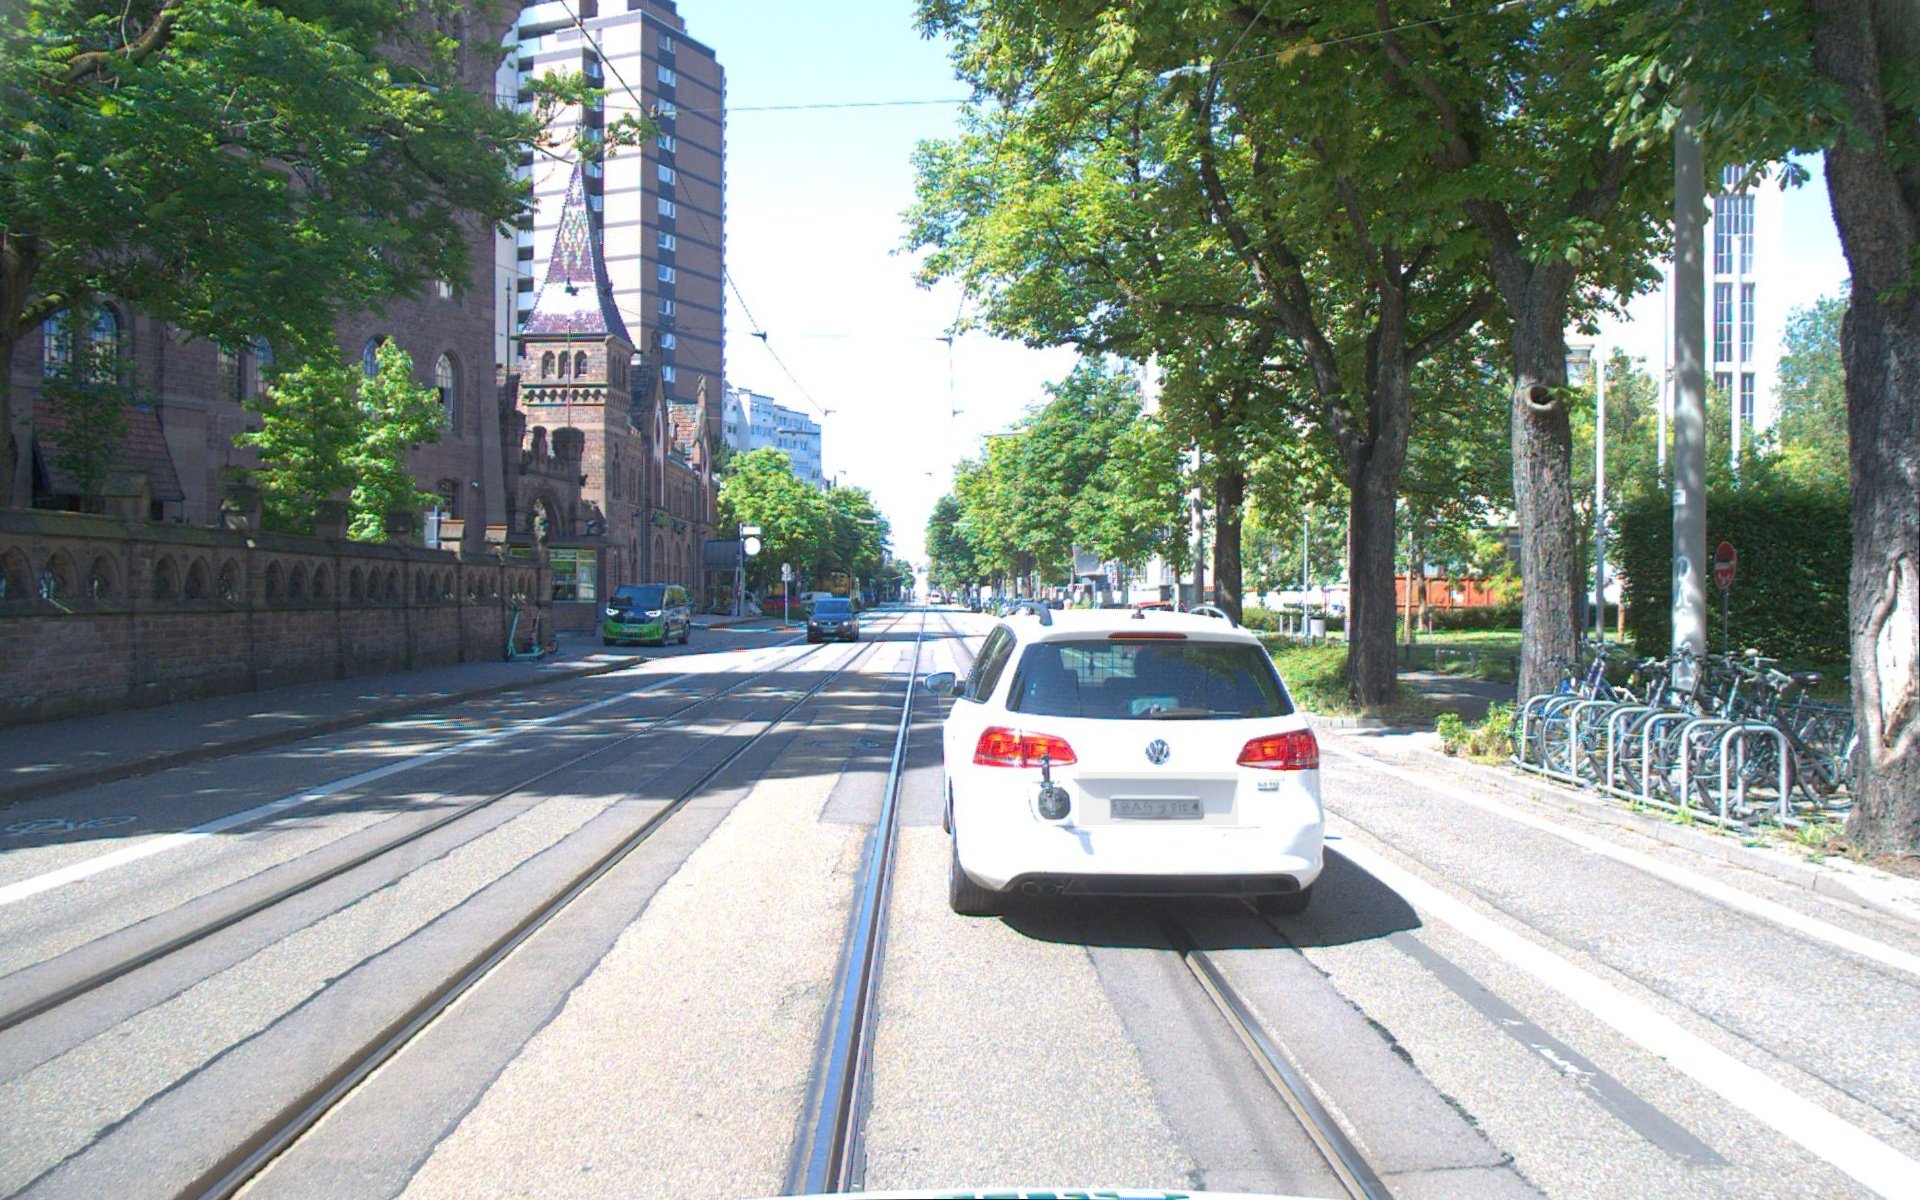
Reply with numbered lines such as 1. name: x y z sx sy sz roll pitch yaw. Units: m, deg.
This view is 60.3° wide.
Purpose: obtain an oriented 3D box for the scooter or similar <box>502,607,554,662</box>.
1. scooter or similar: -9.532 0.750 36.518 0.397 1.175 1.140 0 0 33

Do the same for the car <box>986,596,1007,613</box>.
1. car: 3.039 0.394 139.251 1.678 1.425 3.842 0 0 0

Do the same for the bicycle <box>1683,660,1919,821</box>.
1. bicycle: 5.887 0.942 11.270 1.753 1.028 0.487 0 0 -6

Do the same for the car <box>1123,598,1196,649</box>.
1. car: 5.345 0.603 44.654 1.677 1.303 3.844 0 0 3

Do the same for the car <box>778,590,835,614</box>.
1. car: -13.368 0.207 144.460 4.584 2.049 1.977 0 0 -33

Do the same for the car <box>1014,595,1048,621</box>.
1. car: 4.013 0.448 93.939 1.679 1.425 3.842 0 0 -1

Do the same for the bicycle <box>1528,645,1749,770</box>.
1. bicycle: 5.858 0.918 14.301 1.753 1.028 0.487 0 0 -6

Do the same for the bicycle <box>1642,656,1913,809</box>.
1. bicycle: 5.844 0.936 11.852 1.753 1.028 0.487 0 0 -6

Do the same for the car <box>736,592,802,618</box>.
1. car: -12.937 0.322 111.780 4.061 1.557 1.919 2 0 -23

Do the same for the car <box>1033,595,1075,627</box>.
1. car: 4.296 0.489 76.256 1.678 1.425 3.842 0 0 0

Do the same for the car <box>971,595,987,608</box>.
1. car: 2.023 0.125 180.836 1.678 1.425 3.842 0 0 0

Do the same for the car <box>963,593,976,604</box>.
1. car: 1.224 -0.173 214.546 1.678 1.425 3.842 0 0 0

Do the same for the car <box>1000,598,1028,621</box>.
1. car: 3.458 0.586 107.008 1.678 1.425 3.842 0 0 0

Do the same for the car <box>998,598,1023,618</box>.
1. car: 3.659 0.546 119.508 1.678 1.425 3.842 0 0 0

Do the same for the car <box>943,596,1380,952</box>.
1. car: 0.822 0.760 9.112 1.718 1.467 4.410 0 -1 -2

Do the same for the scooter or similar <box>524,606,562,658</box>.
1. scooter or similar: -10.069 0.772 39.959 0.413 1.221 1.144 0 0 14

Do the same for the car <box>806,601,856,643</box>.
1. car: -4.455 0.733 57.424 1.463 1.409 3.642 0 0 0

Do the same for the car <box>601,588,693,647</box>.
1. car: -9.958 0.525 52.995 1.952 1.788 4.712 0 0 1

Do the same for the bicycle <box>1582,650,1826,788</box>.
1. bicycle: 5.846 0.922 13.020 1.753 1.028 0.487 0 0 -6

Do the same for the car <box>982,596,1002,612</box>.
1. car: 2.888 0.332 150.482 1.678 1.425 3.842 0 0 0

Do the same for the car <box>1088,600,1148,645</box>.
1. car: 5.186 0.716 54.688 1.678 1.425 3.843 0 0 1

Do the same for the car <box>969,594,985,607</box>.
1. car: 1.875 0.077 185.221 1.678 1.425 3.842 0 0 0

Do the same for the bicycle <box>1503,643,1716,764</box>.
1. bicycle: 5.810 0.912 14.819 1.753 1.028 0.487 0 0 -6

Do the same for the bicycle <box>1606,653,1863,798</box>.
1. bicycle: 5.808 0.930 12.428 1.753 1.028 0.487 0 0 -6

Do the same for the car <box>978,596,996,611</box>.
1. car: 2.606 0.315 159.723 1.678 1.425 3.842 0 0 0
